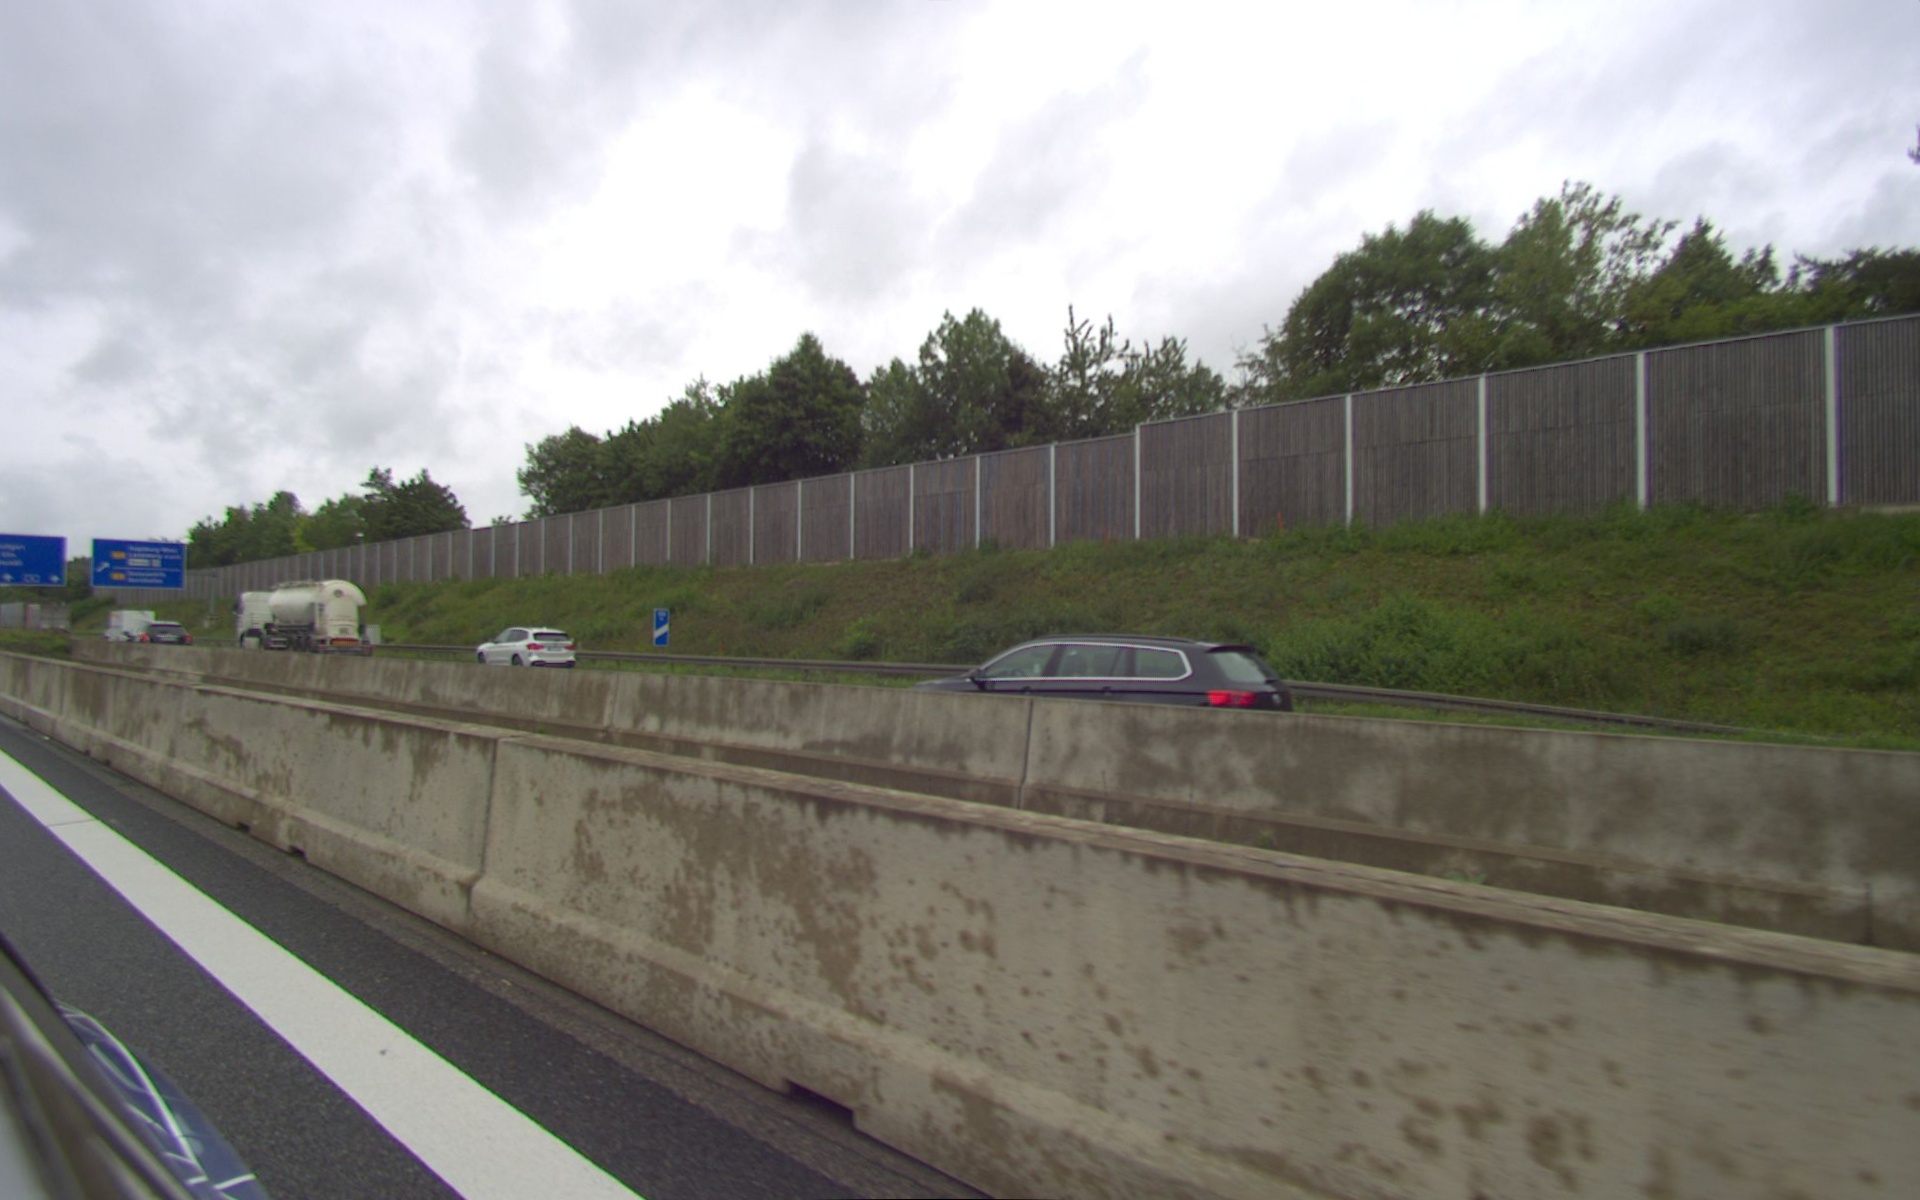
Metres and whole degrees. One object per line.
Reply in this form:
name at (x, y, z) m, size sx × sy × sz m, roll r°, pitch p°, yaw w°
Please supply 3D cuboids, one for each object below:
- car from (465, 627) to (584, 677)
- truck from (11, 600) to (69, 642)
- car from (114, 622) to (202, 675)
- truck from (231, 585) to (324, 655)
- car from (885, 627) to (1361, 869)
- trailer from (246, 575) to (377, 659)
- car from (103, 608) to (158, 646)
car at (-15.549, 1.780, 36.006) m, size 4.958 × 1.656 × 1.973 m, roll -1°, pitch -2°, yaw 41°
truck at (-98.779, 2.255, 108.534) m, size 11.138 × 4.274 × 3.284 m, roll -2°, pitch -1°, yaw 41°
car at (-32.614, 1.919, 41.112) m, size 4.766 × 2.029 × 1.973 m, roll -1°, pitch -2°, yaw 41°
truck at (-37.931, 1.120, 56.184) m, size 5.855 × 3.585 × 2.672 m, roll -1°, pitch -4°, yaw 41°
car at (1.550, 1.318, 10.908) m, size 4.767 × 2.029 × 1.972 m, roll -1°, pitch -2°, yaw 42°
trailer at (-33.831, 0.907, 52.572) m, size 10.640 × 3.953 × 2.683 m, roll -1°, pitch -4°, yaw 41°
car at (-68.122, 2.220, 83.061) m, size 6.685 × 2.993 × 2.339 m, roll -1°, pitch -2°, yaw 41°
